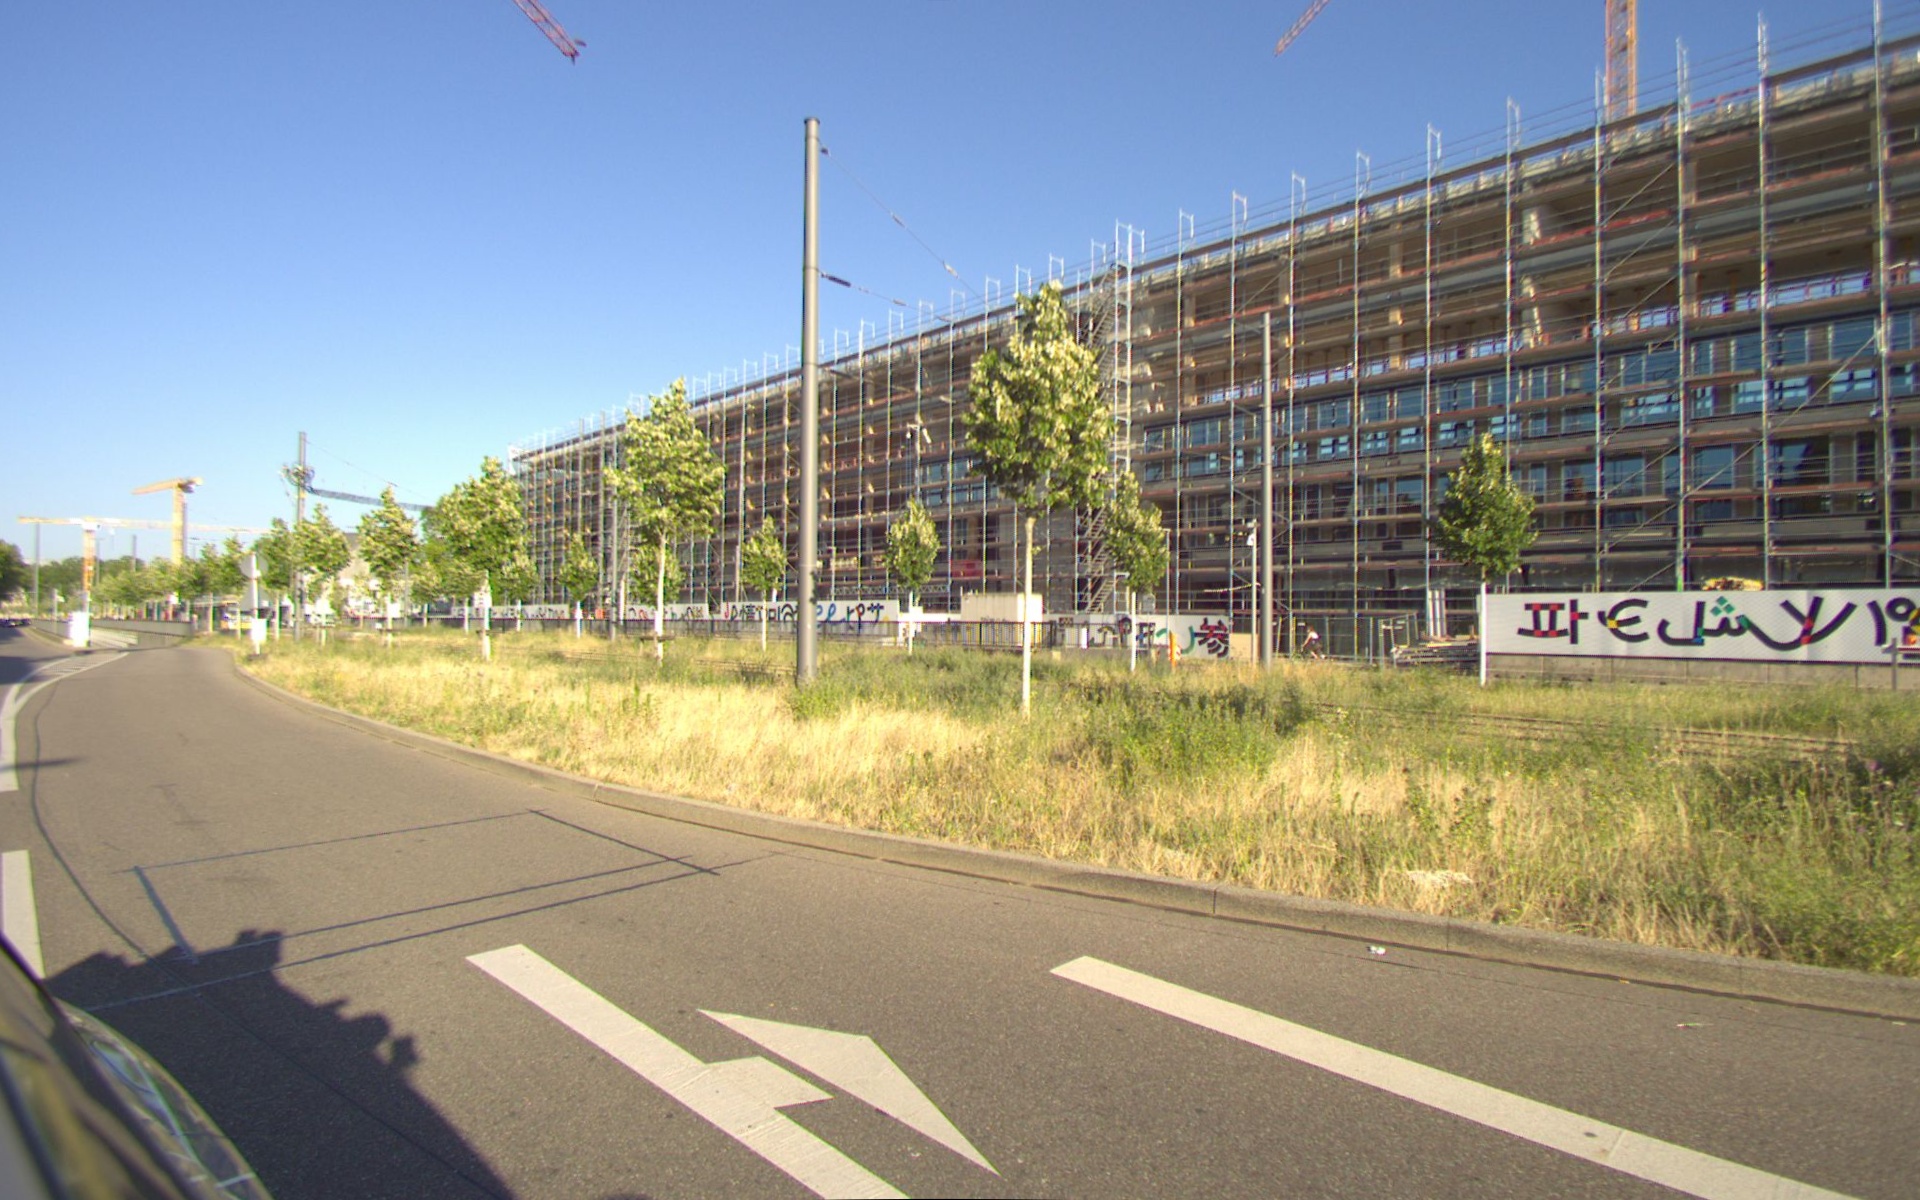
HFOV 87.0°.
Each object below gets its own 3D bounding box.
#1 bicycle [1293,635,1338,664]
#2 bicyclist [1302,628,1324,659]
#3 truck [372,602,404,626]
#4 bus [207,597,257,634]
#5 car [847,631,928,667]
[{"bbox_3d":[13.569,1.888,38.646,0.473,1.069,1.565,2,-2,-43],"label":"bicycle"},{"bbox_3d":[13.510,1.656,38.709,0.473,1.162,0.639,2,-2,-44],"label":"bicyclist"},{"bbox_3d":[-64.244,1.598,113.689,2.112,2.593,4.745,2,-2,-42],"label":"truck"},{"bbox_3d":[-67.423,1.483,93.665,2.684,3.247,8.664,2,-2,-43],"label":"bus"},{"bbox_3d":[-3.340,2.209,46.207,1.585,1.570,3.845,2,-2,-43],"label":"car"}]
